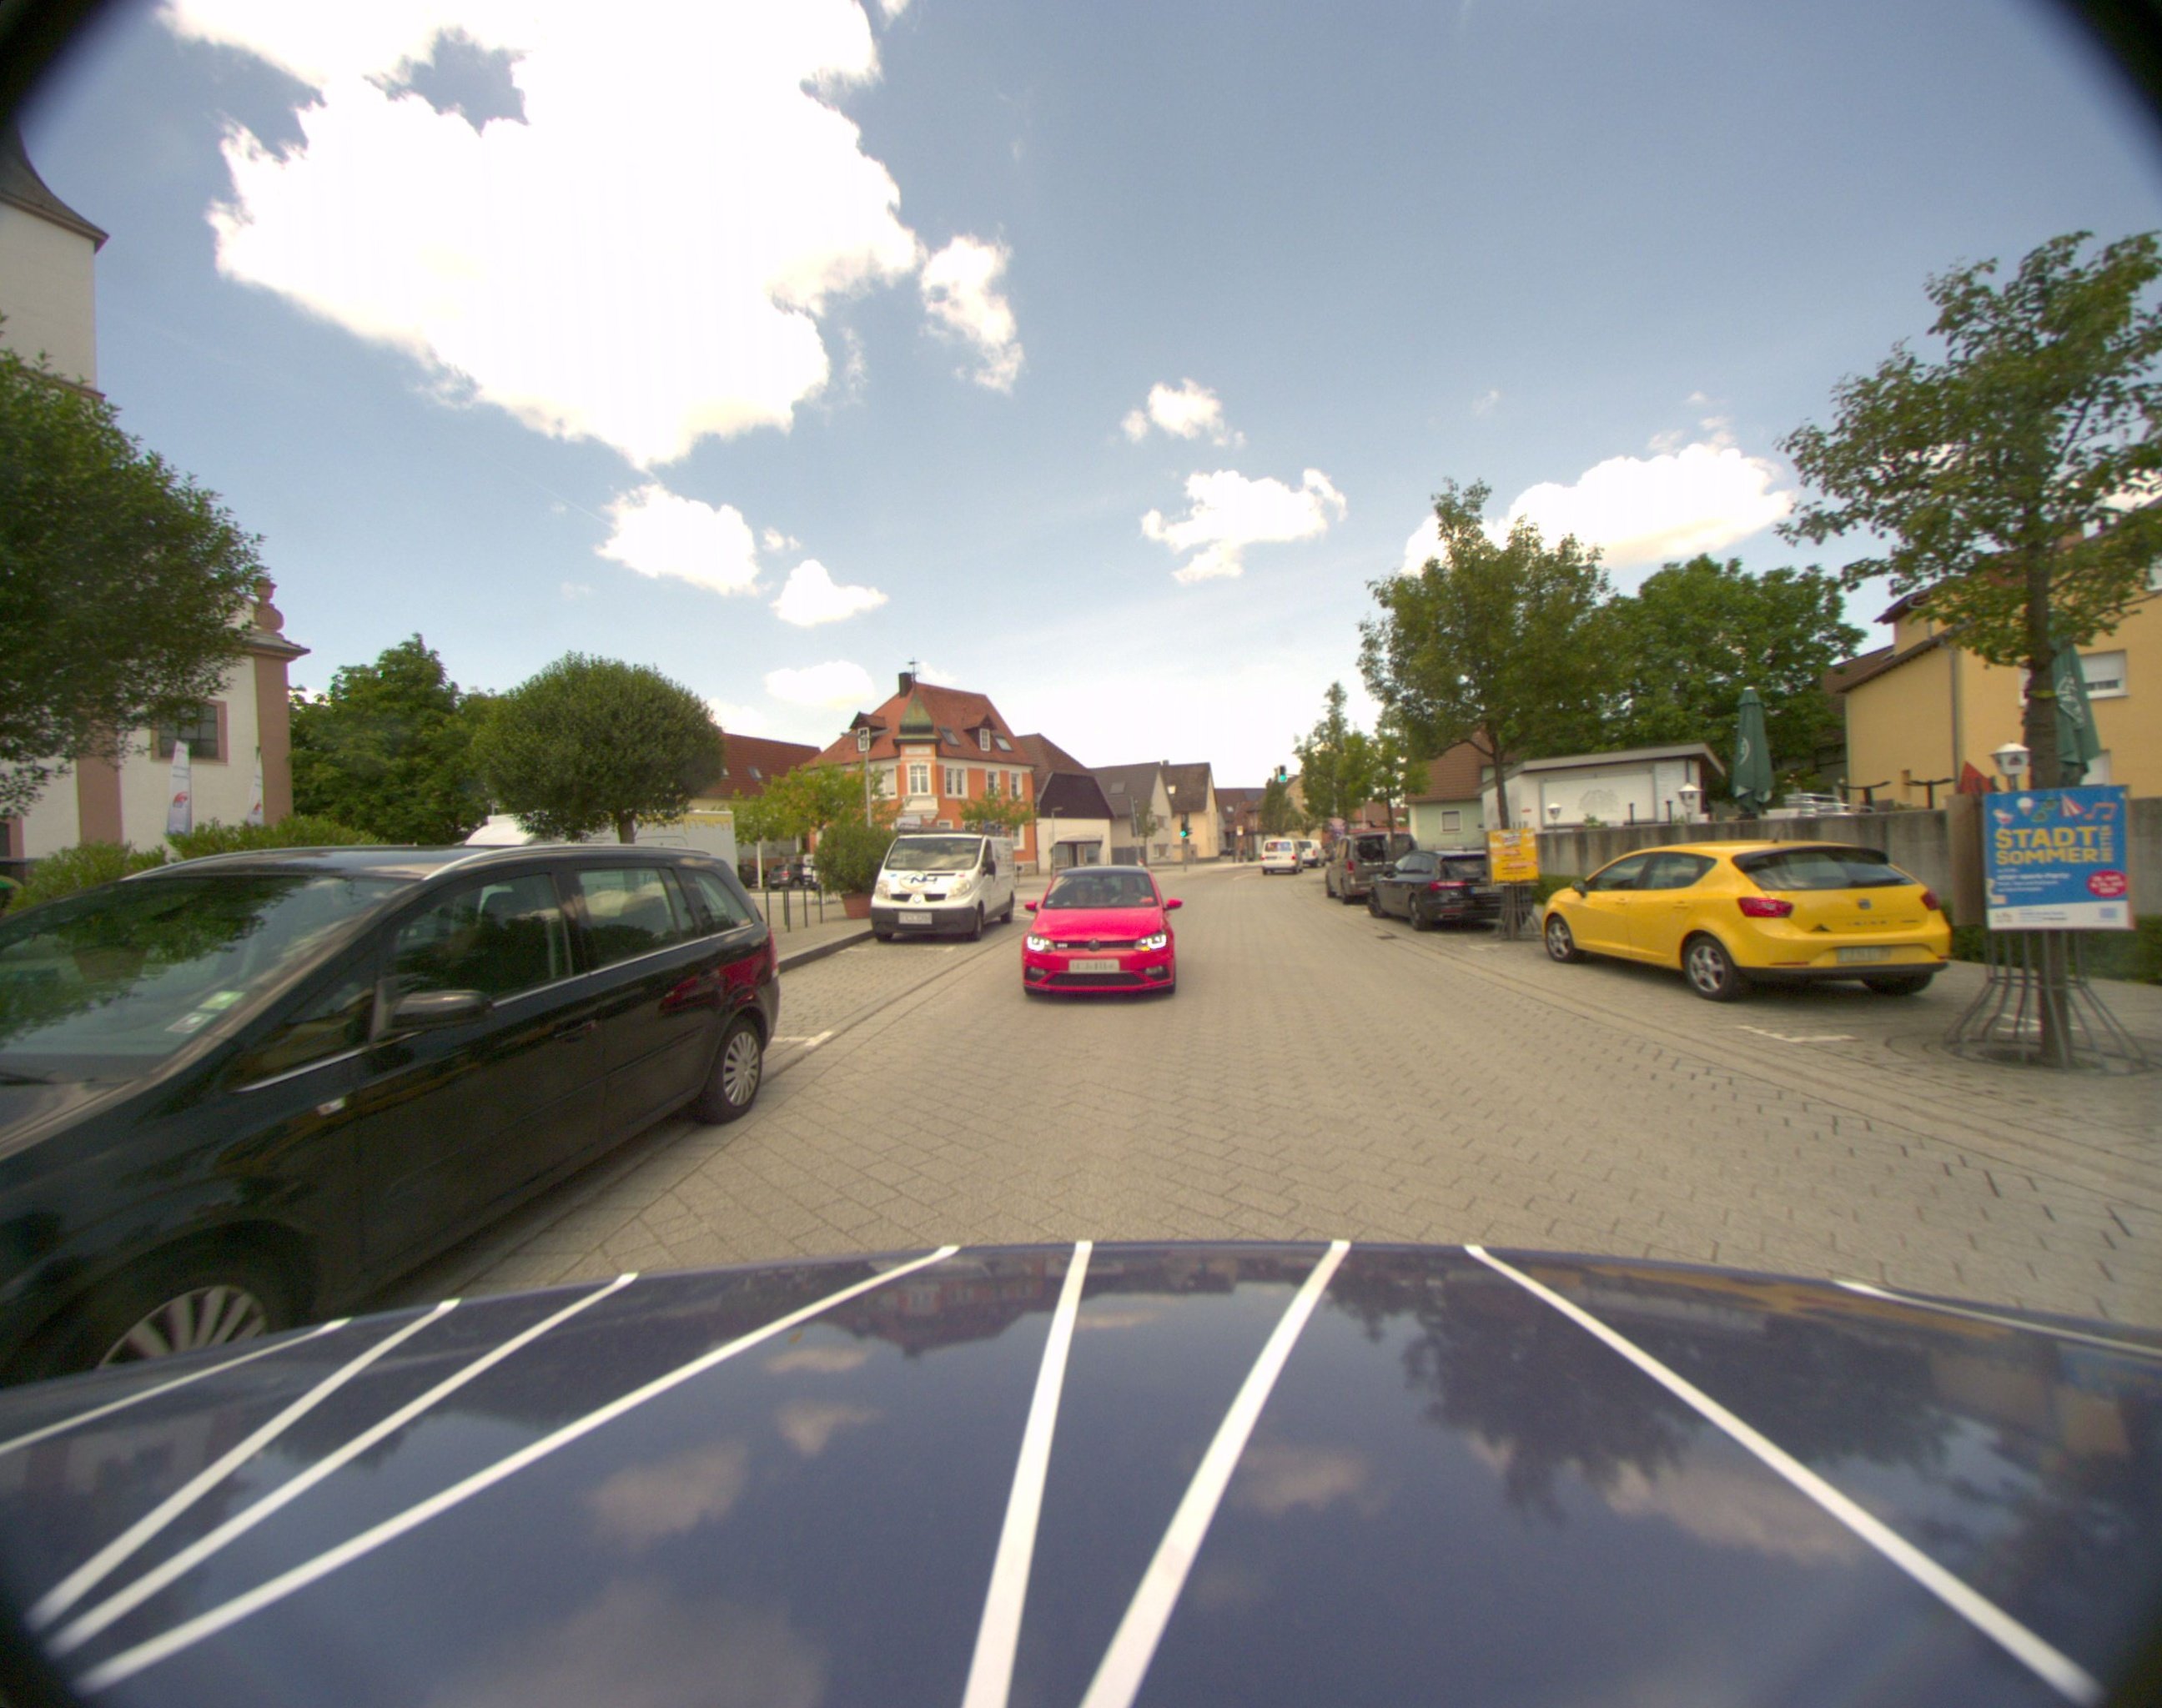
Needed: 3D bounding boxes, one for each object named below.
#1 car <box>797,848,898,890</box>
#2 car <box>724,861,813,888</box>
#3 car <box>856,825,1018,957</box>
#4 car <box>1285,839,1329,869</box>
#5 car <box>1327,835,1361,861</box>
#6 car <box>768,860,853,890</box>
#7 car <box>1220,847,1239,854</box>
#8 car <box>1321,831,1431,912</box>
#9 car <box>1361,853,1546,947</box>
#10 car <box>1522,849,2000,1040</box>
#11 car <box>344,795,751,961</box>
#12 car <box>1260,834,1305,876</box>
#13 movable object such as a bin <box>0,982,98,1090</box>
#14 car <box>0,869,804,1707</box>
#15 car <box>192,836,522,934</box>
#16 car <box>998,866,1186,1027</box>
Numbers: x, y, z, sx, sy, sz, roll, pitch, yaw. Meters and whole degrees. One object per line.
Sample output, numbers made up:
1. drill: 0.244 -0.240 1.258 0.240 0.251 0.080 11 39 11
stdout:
1. car: -12.656 0.775 41.642 1.995 2.002 5.503 -2 0 25
2. car: -19.392 1.227 47.416 1.995 1.433 5.133 -2 0 25
3. car: -2.592 0.596 15.118 1.947 2.165 5.102 0 1 3
4. car: 15.562 -0.053 52.183 1.995 1.869 4.874 -2 0 27
5. car: 21.728 -0.493 62.683 1.660 2.002 4.007 -2 1 33
6. car: -15.261 1.146 43.115 1.621 1.475 4.730 -2 0 25
7. car: 24.976 -0.602 127.591 1.804 1.053 3.996 -2 0 -10
8. car: 8.178 0.424 21.545 1.990 1.979 5.048 -2 0 11
9. car: 6.760 0.736 14.379 1.819 1.415 4.540 -2 0 8
10. car: 6.472 0.706 7.949 1.671 1.466 3.964 -2 0 5
11. car: -11.343 0.356 17.261 2.755 2.946 7.122 -1 1 21
12. car: 11.428 0.034 42.893 1.889 2.173 5.037 -2 1 20
13. movable object such as a bin: -8.085 1.387 5.837 0.566 0.728 0.391 -2 1 6
14. car: -2.904 0.904 2.872 1.772 1.555 4.419 0 1 5
15. car: -21.686 0.800 23.389 6.977 2.463 2.646 -2 1 -40
16. car: 0.140 0.945 9.409 1.782 1.404 3.887 -2 1 1
